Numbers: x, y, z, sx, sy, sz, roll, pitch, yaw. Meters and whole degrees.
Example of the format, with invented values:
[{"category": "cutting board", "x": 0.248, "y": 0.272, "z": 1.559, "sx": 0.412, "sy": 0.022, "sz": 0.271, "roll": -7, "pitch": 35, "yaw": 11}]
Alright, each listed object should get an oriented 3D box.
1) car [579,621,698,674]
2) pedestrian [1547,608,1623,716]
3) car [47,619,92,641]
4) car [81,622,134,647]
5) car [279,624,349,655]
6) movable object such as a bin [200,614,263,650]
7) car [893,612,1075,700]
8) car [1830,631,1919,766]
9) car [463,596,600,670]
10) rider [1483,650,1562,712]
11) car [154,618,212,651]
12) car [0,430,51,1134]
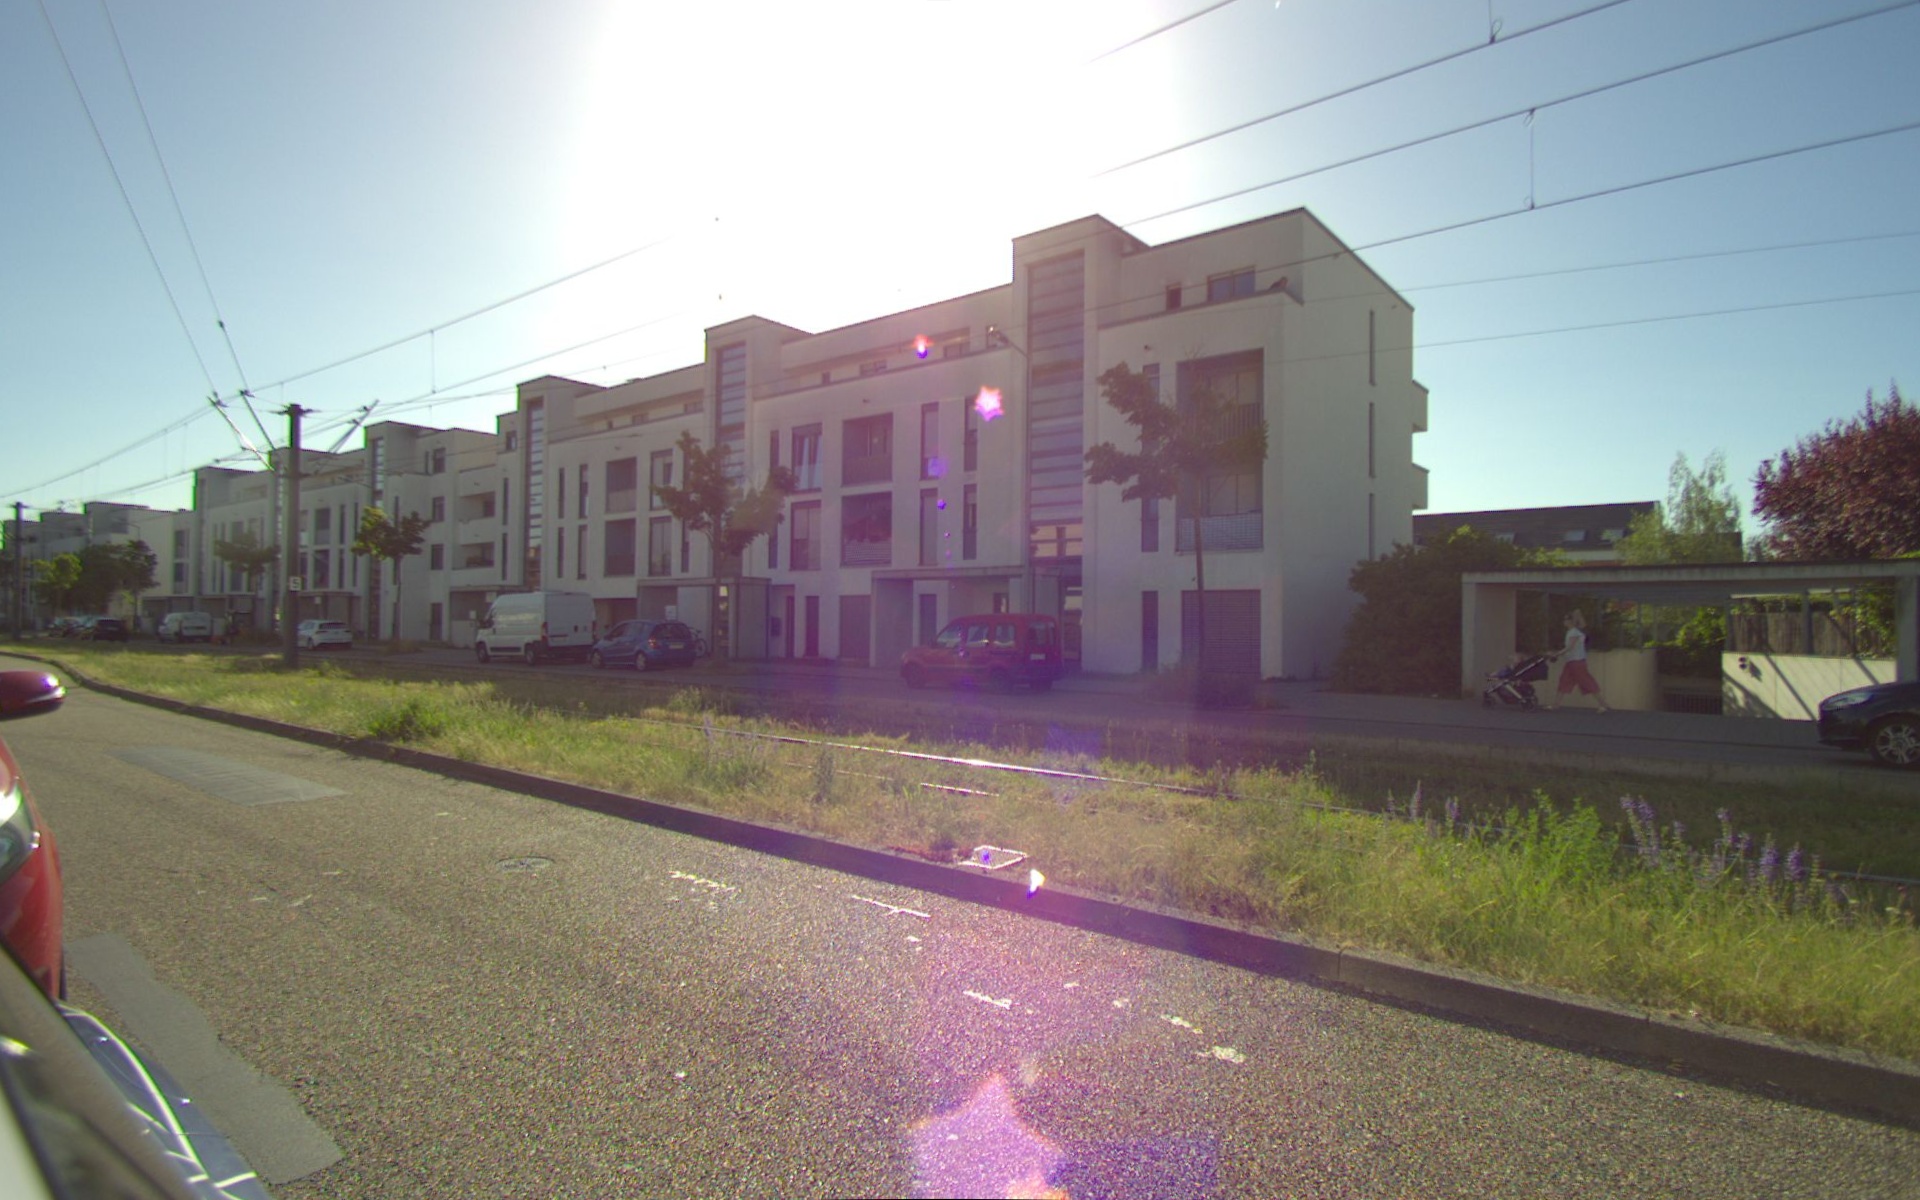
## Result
[{"category": "car", "x": -10.072, "y": 1.437, "z": 31.603, "sx": 3.840, "sy": 1.548, "sz": 1.805, "roll": -1, "pitch": -1, "yaw": 41}, {"category": "pedestrian", "x": 10.669, "y": 1.030, "z": 17.272, "sx": 0.806, "sy": 1.761, "sz": 0.910, "roll": 0, "pitch": -1, "yaw": -44}, {"category": "car", "x": -67.568, "y": 2.289, "z": 76.772, "sx": 4.149, "sy": 1.611, "sz": 1.745, "roll": -1, "pitch": -1, "yaw": 37}, {"category": "car", "x": -50.302, "y": 2.023, "z": 59.707, "sx": 3.999, "sy": 1.429, "sz": 1.769, "roll": -1, "pitch": -4, "yaw": 42}, {"category": "car", "x": -31.250, "y": 1.886, "z": 48.914, "sx": 4.149, "sy": 1.443, "sz": 1.503, "roll": -1, "pitch": -1, "yaw": 37}, {"category": "movable object such as a bin", "x": -41.442, "y": 1.781, "z": 57.556, "sx": 4.149, "sy": 1.952, "sz": 1.745, "roll": -1, "pitch": -1, "yaw": 37}, {"category": "car", "x": 0.488, "y": 1.203, "z": 22.996, "sx": 3.836, "sy": 1.809, "sz": 1.861, "roll": -1, "pitch": -1, "yaw": 42}, {"category": "car", "x": 11.678, "y": 1.064, "z": 10.579, "sx": 1.683, "sy": 1.442, "sz": 3.743, "roll": 4, "pitch": -5, "yaw": -43}, {"category": "car", "x": -15.340, "y": 1.149, "z": 36.070, "sx": 5.583, "sy": 2.463, "sz": 2.119, "roll": -1, "pitch": -1, "yaw": 39}, {"category": "rider", "x": 9.990, "y": 1.426, "z": 17.989, "sx": 0.769, "sy": 1.010, "sz": 1.046, "roll": 0, "pitch": -1, "yaw": -44}, {"category": "car", "x": -47.283, "y": 2.072, "z": 61.577, "sx": 4.149, "sy": 1.884, "sz": 1.745, "roll": -1, "pitch": -1, "yaw": 37}, {"category": "car", "x": -5.174, "y": 0.554, "z": 3.880, "sx": 5.203, "sy": 1.948, "sz": 1.954, "roll": -1, "pitch": 0, "yaw": 42}]
